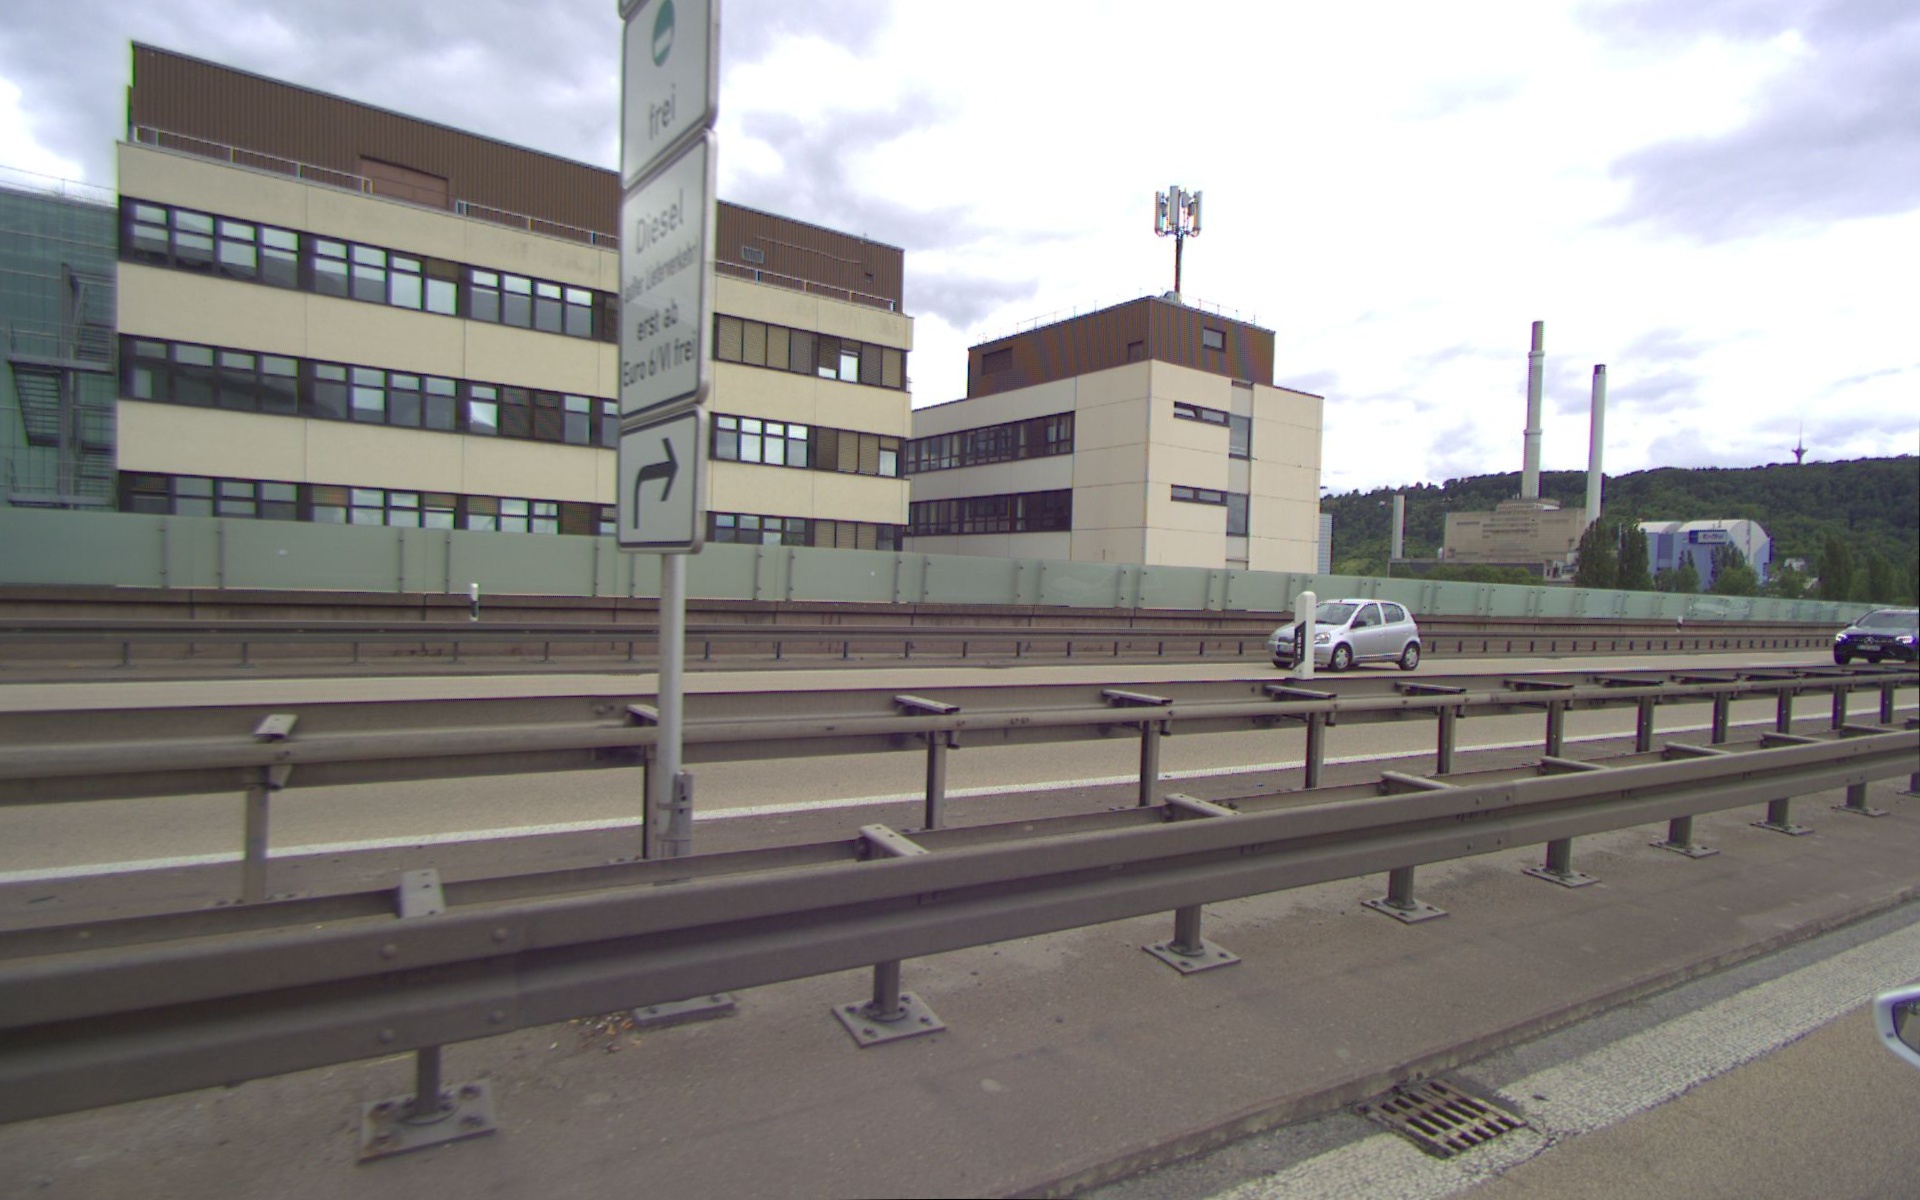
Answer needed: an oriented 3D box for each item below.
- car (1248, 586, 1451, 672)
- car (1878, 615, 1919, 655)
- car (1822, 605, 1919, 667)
[{"bbox_3d":[8.529,0.631,21.888,4.362,1.697,1.981,2,0,-34],"label":"car"},{"bbox_3d":[42.827,1.579,44.697,4.363,1.697,1.981,2,0,-35],"label":"car"},{"bbox_3d":[27.680,1.063,30.117,4.369,1.697,1.978,2,-1,-38],"label":"car"}]
